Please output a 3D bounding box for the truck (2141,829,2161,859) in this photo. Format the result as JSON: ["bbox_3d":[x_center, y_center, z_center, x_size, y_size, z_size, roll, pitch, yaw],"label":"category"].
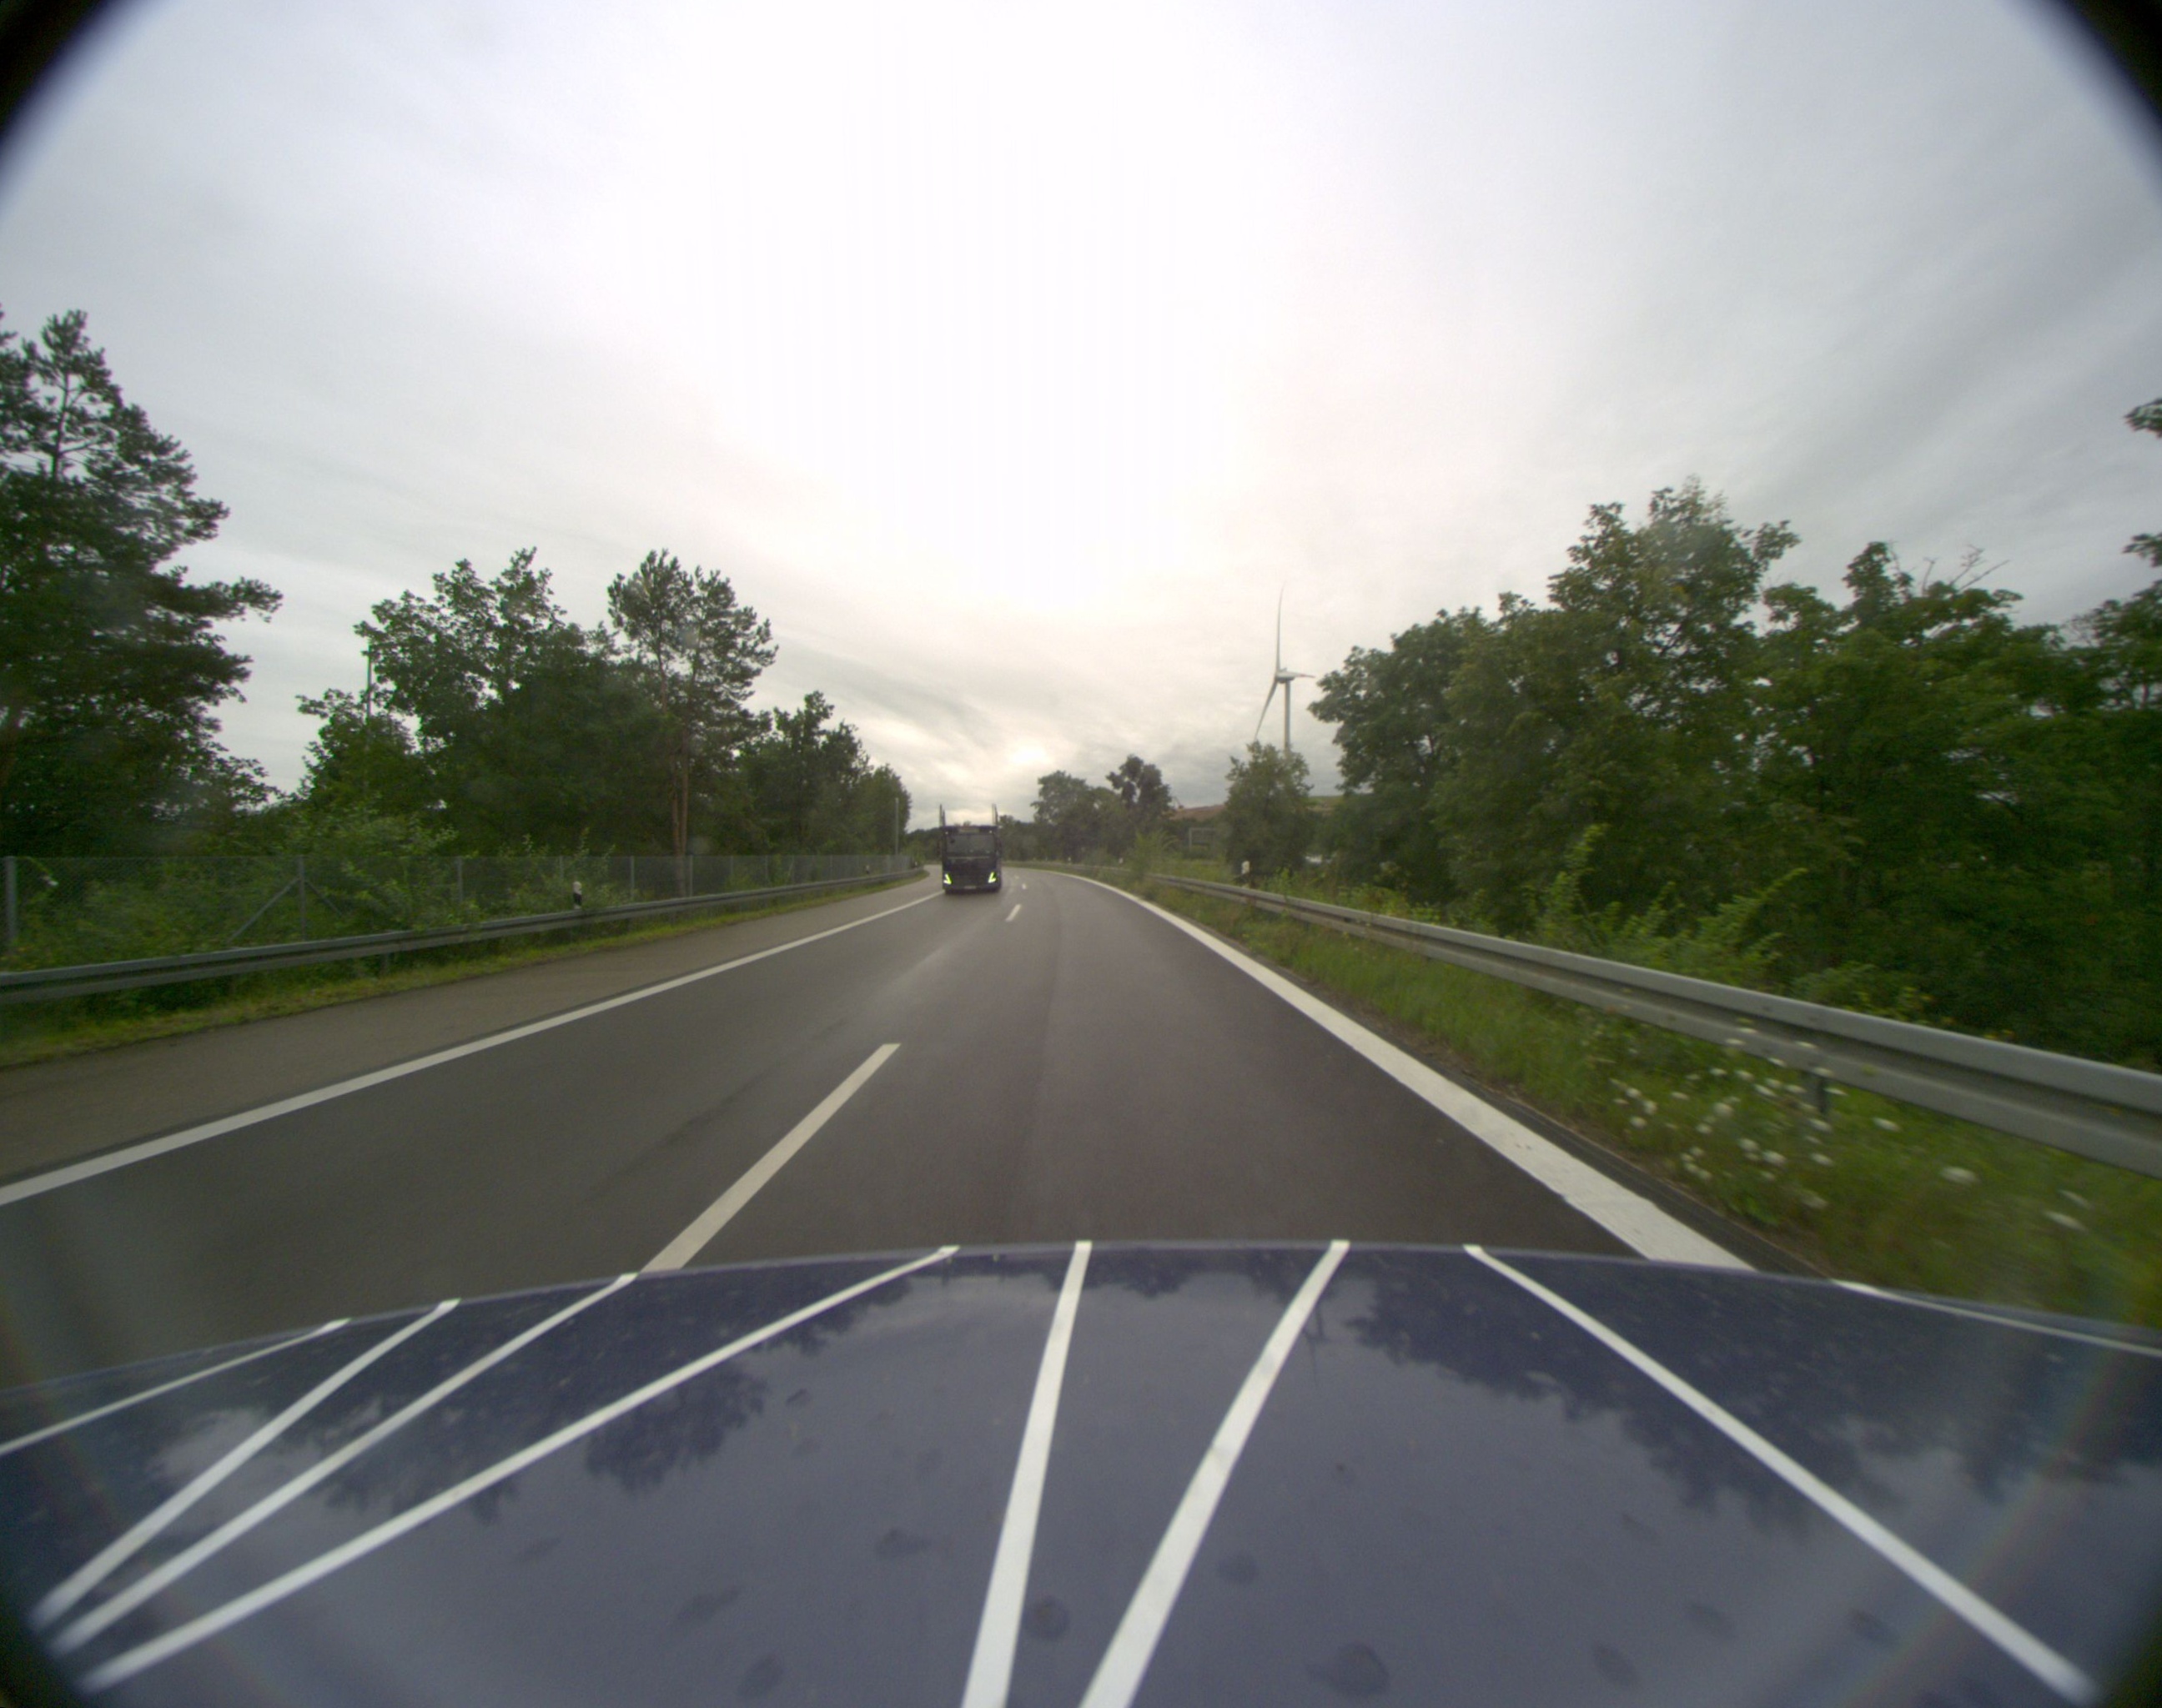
[{"bbox_3d":[96.439,-0.867,65.098,2.257,2.614,6.434,-1,1,-32],"label":"truck"}]

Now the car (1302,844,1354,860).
[{"bbox_3d":[46.949,-0.394,144.775,2.745,2.965,10.057,-1,1,-32],"label":"car"}]

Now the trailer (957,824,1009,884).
[{"bbox_3d":[-5.931,0.025,47.018,2.786,3.265,10.400,-1,0,-6],"label":"trailer"}]

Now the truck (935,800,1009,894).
[{"bbox_3d":[-5.095,-0.320,37.264,2.746,3.945,9.124,-3,0,-4],"label":"truck"}]
